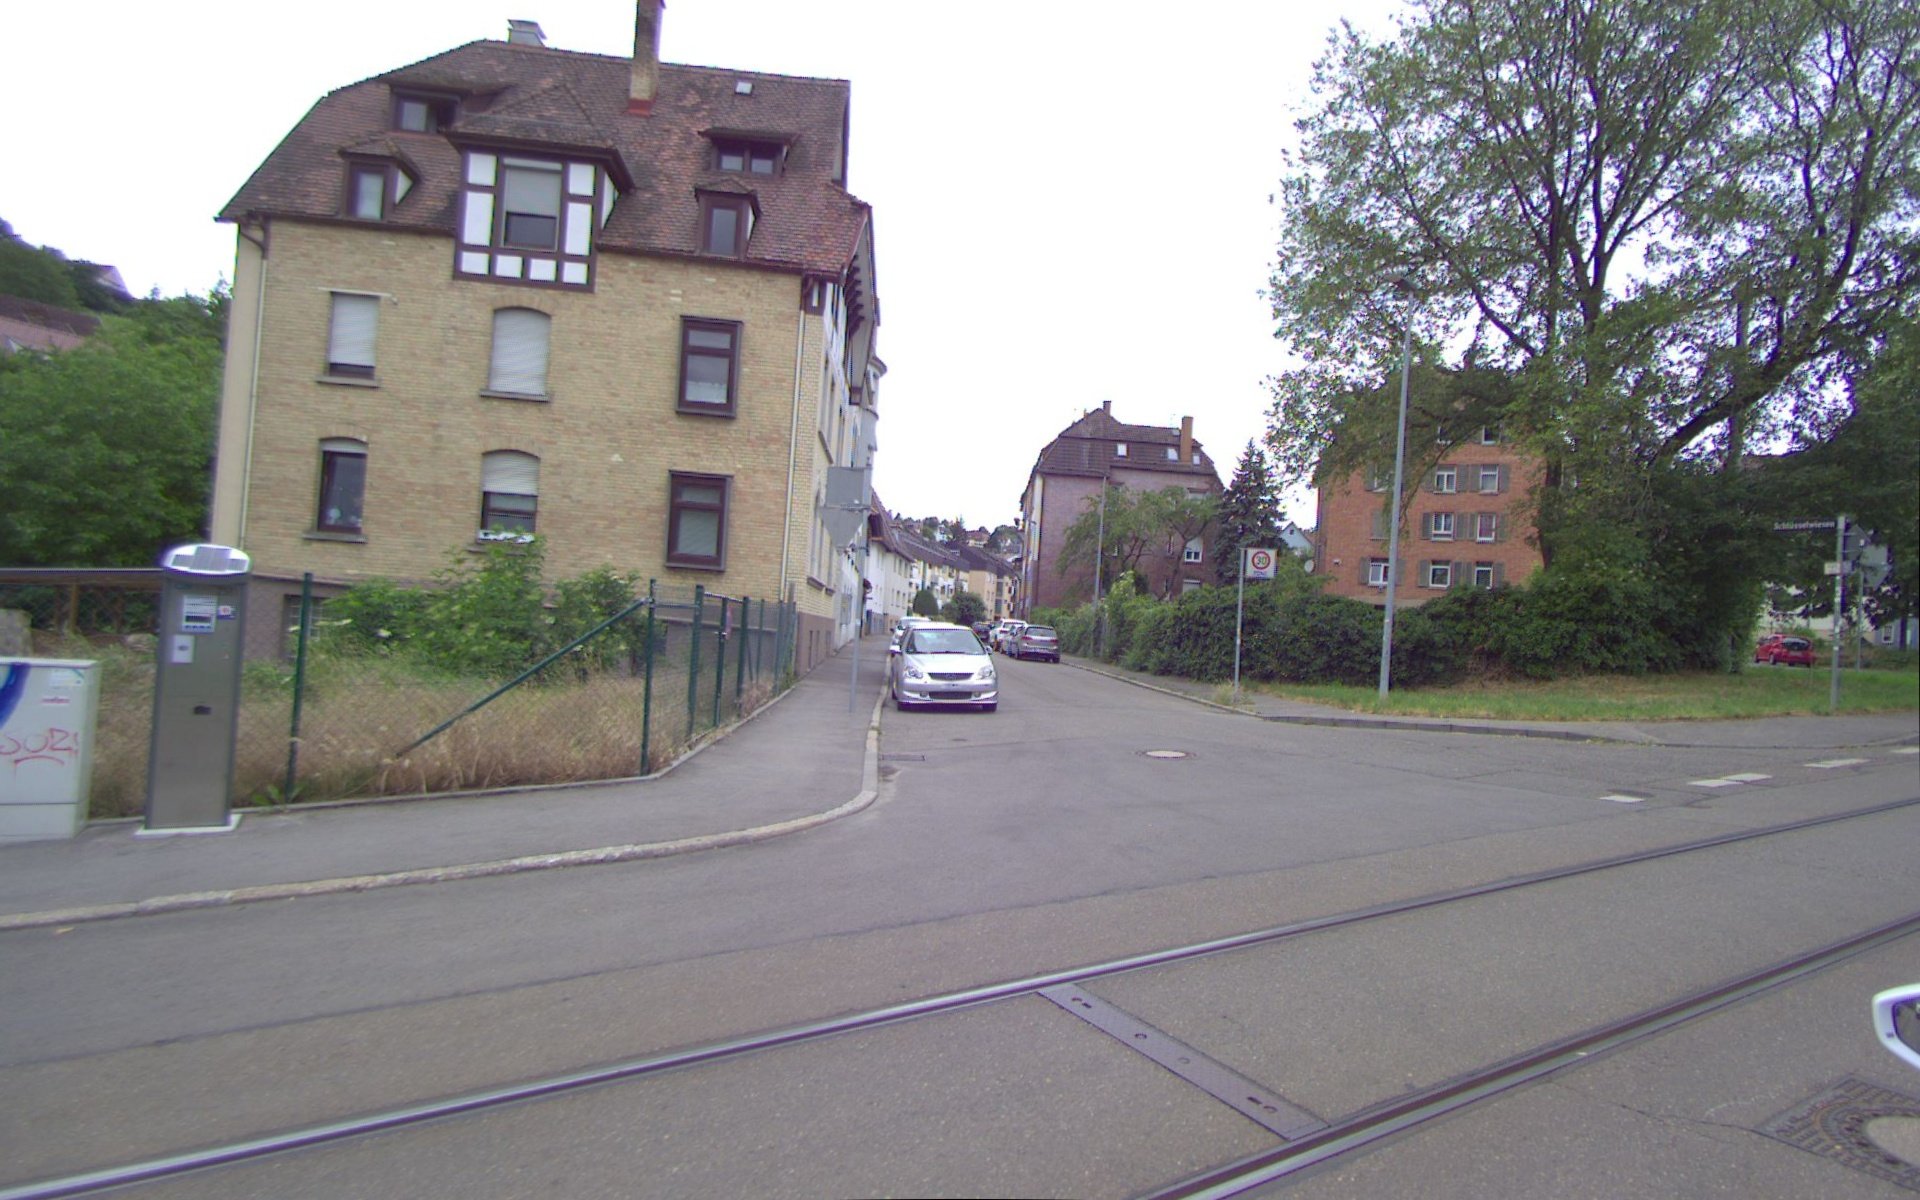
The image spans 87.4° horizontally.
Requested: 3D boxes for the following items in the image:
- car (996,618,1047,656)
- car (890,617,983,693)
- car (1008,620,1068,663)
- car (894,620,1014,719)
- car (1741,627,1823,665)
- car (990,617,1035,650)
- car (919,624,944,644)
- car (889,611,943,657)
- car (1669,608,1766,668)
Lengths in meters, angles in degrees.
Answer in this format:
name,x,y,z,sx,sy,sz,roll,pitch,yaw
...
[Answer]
name,x,y,z,sx,sy,sz,roll,pitch,yaw
car,2.767,1.648,45.832,1.907,1.514,3.877,2,0,-2
car,-0.637,1.228,23.832,1.962,1.514,3.998,2,0,-4
car,3.097,1.648,40.830,1.961,1.514,3.999,2,0,-2
car,-0.220,1.153,17.951,1.854,1.437,3.998,2,0,-4
car,39.387,2.157,48.238,1.961,1.617,3.998,2,0,23
car,2.650,1.682,51.403,1.907,1.514,3.999,2,0,-2
car,-2.466,2.936,86.650,1.962,1.514,3.998,2,0,-4
car,-1.669,1.216,37.477,1.855,1.514,3.998,2,0,-4
car,23.619,1.160,31.463,1.965,1.684,3.991,2,0,31
